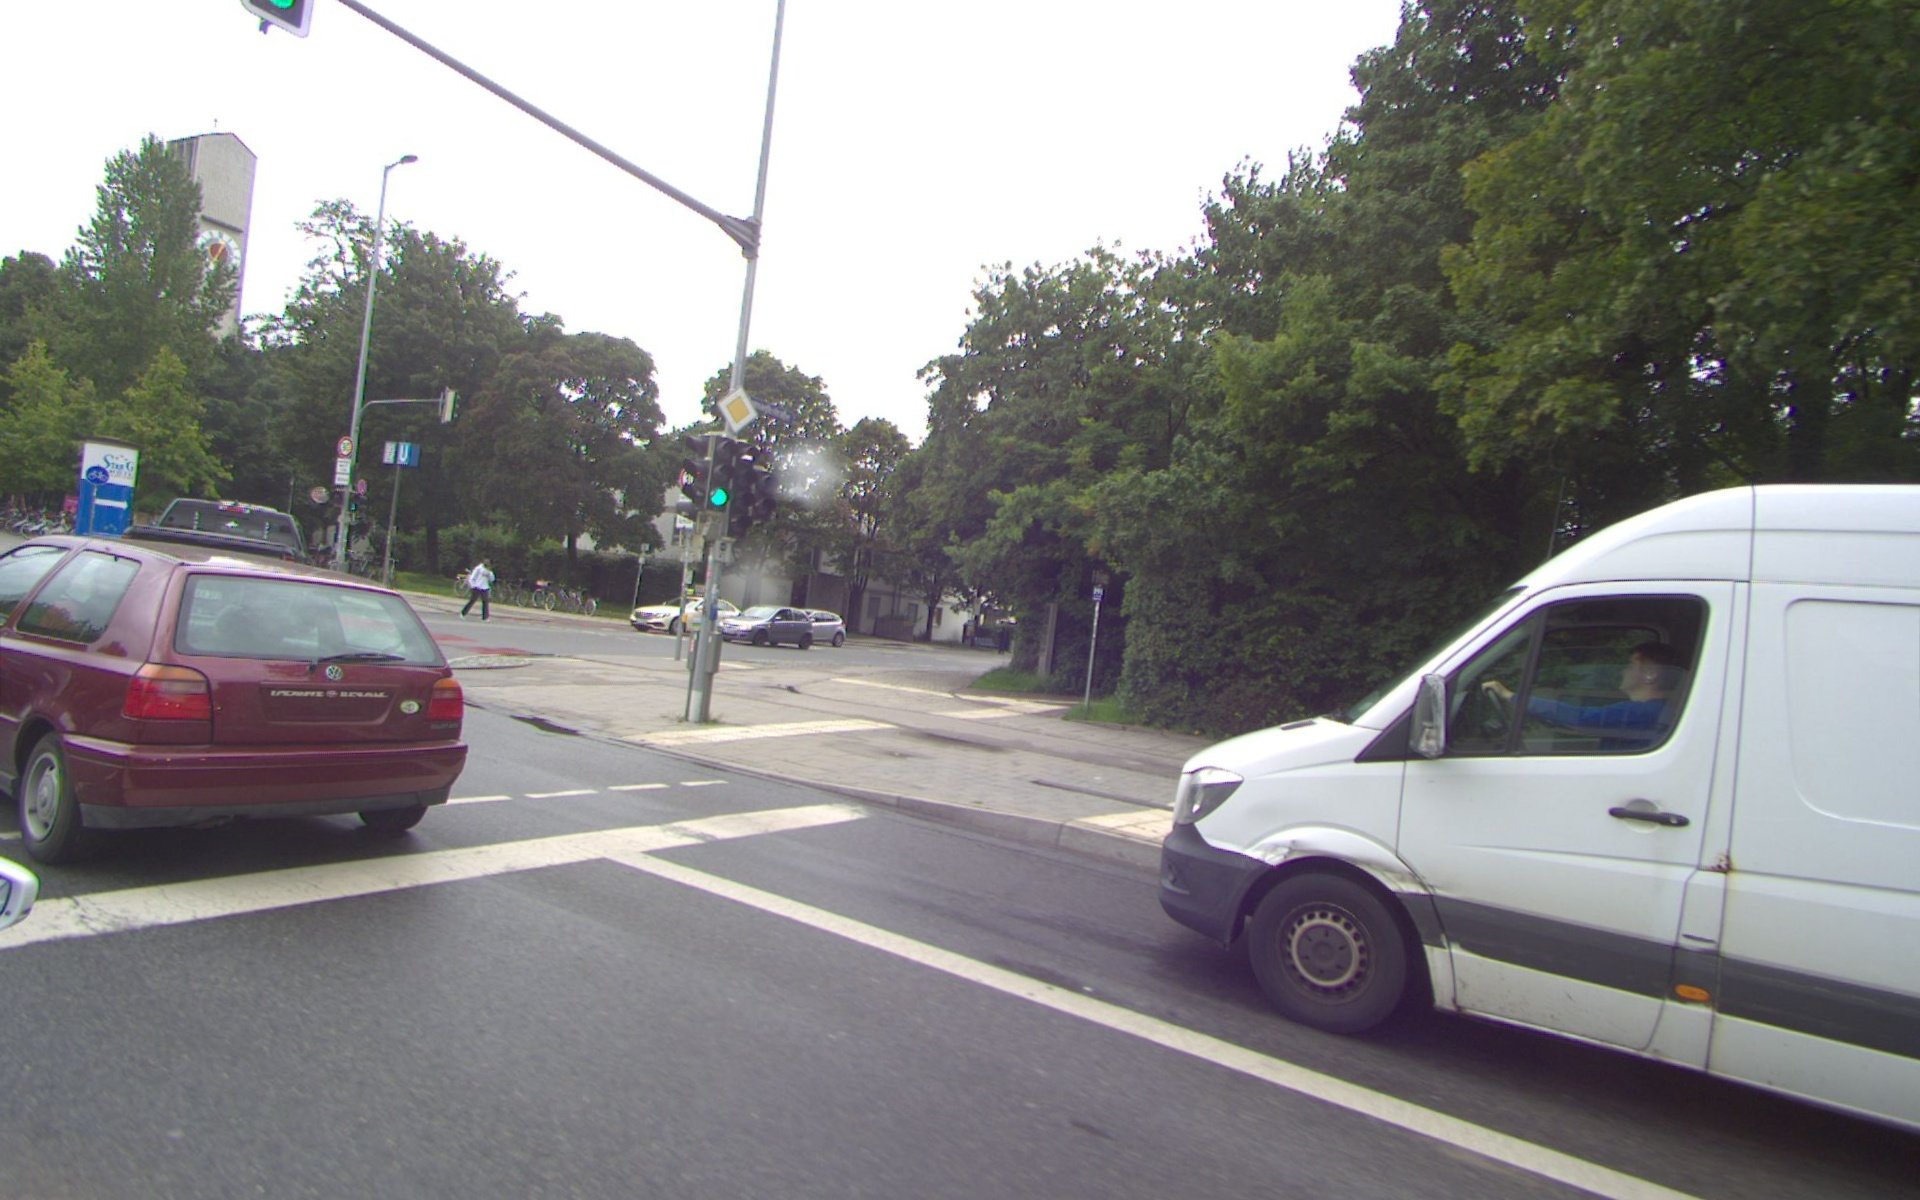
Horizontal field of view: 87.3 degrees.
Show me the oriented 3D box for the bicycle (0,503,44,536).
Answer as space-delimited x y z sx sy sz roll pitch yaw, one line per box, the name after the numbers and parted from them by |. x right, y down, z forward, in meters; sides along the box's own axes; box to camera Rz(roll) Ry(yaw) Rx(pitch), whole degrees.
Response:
-38.166 -3.265 40.099 0.575 1.172 2.339 7 1 31 | bicycle

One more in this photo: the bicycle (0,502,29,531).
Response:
-42.831 -3.778 44.462 0.520 1.172 2.339 7 1 31 | bicycle

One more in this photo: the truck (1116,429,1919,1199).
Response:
4.447 0.911 3.957 7.105 2.634 1.997 7 -1 31 | truck

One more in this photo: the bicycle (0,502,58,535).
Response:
-39.591 -3.453 42.322 0.520 1.172 2.339 7 1 31 | bicycle

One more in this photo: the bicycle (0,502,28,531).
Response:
-42.197 -3.717 43.781 0.519 1.172 2.343 7 1 23 | bicycle

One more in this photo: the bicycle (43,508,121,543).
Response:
-36.596 -3.091 41.948 0.575 1.172 2.339 7 1 31 | bicycle

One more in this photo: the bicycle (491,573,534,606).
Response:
-17.982 -0.417 40.415 2.084 1.108 0.607 6 0 40 | bicycle

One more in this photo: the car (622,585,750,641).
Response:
-9.695 0.495 35.924 1.855 1.515 4.310 7 -1 29 | car

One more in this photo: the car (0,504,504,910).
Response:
-4.489 0.319 5.500 3.884 1.471 1.625 7 -1 31 | car

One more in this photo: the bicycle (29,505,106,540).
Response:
-37.563 -3.256 42.372 0.575 1.172 2.339 7 1 31 | bicycle

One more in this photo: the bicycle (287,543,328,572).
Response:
-29.637 -1.906 45.703 0.707 1.167 2.125 7 -1 -11 | bicycle

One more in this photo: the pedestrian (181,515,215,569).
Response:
-23.507 -1.783 31.026 0.687 1.557 0.729 7 0 -39 | pedestrian

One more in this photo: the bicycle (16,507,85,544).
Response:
-34.115 -2.791 37.753 0.559 1.157 1.803 7 1 41 | bicycle

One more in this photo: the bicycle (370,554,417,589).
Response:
-22.879 -1.158 40.614 2.095 1.167 0.697 7 0 35 | bicycle

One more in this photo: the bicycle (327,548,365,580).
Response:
-25.378 -1.468 41.609 0.708 1.167 2.121 7 -1 -18 | bicycle

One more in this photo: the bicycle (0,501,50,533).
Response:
-40.105 -3.542 42.507 0.520 1.172 2.339 7 1 31 | bicycle

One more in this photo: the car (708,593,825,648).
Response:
-6.605 0.757 34.700 1.600 1.471 3.944 7 -1 31 | car

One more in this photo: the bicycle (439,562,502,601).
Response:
-19.432 -0.734 39.951 2.074 1.266 0.704 7 0 6 | bicycle

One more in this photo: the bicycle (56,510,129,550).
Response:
-32.137 -2.587 37.296 0.557 1.227 1.945 6 1 21 | bicycle

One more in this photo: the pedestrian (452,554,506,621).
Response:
-13.339 -0.333 27.918 0.922 1.723 0.762 7 0 22 | pedestrian

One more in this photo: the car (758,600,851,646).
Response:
-6.418 0.987 41.862 1.599 1.471 3.945 7 -1 29 | car

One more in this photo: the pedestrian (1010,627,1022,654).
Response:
3.932 2.848 70.471 0.596 1.849 0.707 7 0 4 | pedestrian

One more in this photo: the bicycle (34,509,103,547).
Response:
-32.893 -2.645 37.149 0.557 1.157 1.811 6 1 21 | bicycle

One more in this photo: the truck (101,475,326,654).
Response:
-11.146 -0.544 15.476 2.084 2.038 5.765 7 -1 -31 | truck

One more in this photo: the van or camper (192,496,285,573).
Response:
-26.630 -2.424 37.009 2.133 2.324 6.129 7 -1 -40 | van or camper

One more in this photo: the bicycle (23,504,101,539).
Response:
-38.071 -3.315 42.687 0.575 1.172 2.339 7 1 31 | bicycle

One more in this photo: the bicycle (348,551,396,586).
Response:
-23.370 -1.252 39.954 2.095 1.167 0.717 7 0 35 | bicycle

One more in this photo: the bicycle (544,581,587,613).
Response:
-16.067 -0.129 40.929 2.084 1.108 0.607 6 0 40 | bicycle

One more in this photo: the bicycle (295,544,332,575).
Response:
-27.352 -1.707 42.592 0.708 1.167 2.121 7 -1 -18 | bicycle

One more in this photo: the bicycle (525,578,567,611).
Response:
-16.643 -0.243 40.394 2.085 1.108 0.607 6 0 42 | bicycle

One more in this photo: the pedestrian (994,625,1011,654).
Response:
2.825 2.638 67.264 0.599 1.849 0.704 7 0 42 | pedestrian

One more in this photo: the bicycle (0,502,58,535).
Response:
-39.207 -3.426 41.912 0.520 1.172 2.339 7 1 31 | bicycle

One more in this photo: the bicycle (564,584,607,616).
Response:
-15.323 -0.015 41.164 2.084 1.108 0.607 6 0 40 | bicycle

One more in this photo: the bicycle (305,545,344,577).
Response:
-26.133 -1.584 41.389 0.708 1.167 2.121 7 -1 -18 | bicycle

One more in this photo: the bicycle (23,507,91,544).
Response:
-34.771 -2.852 38.748 0.559 1.157 1.805 7 1 37 | bicycle

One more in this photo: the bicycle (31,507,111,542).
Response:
-36.337 -3.068 41.149 0.575 1.172 2.339 7 1 31 | bicycle
